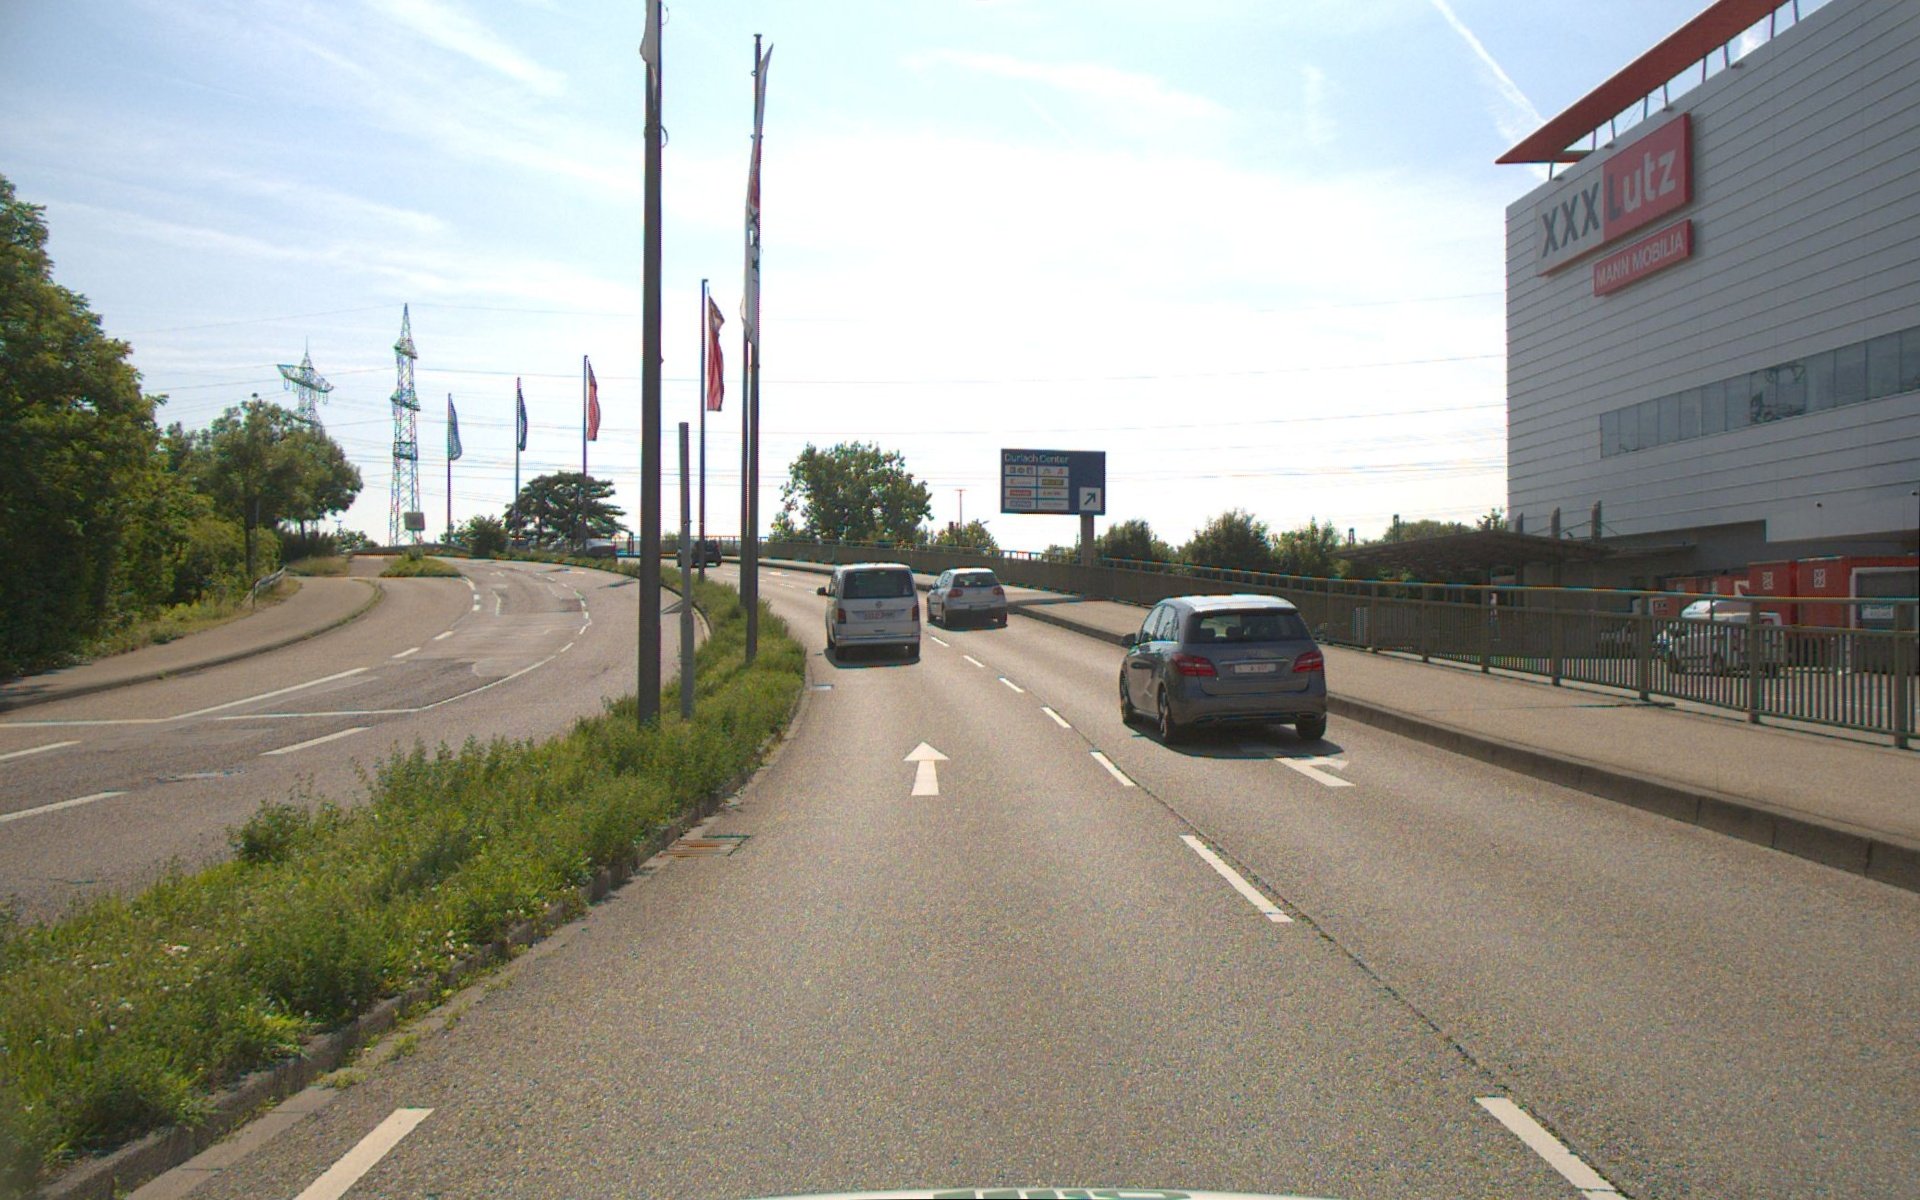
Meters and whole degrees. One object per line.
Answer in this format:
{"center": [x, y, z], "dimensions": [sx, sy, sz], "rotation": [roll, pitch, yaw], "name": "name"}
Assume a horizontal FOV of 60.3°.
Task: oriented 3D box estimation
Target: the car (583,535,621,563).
{"center": [-21.293, -3.007, 98.393], "dimensions": [1.512, 1.506, 3.221], "rotation": [1, -1, -25], "name": "car"}

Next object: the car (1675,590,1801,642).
{"center": [30.364, 0.633, 64.628], "dimensions": [4.104, 1.963, 1.775], "rotation": [0, 0, -3], "name": "car"}

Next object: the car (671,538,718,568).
{"center": [-14.610, -2.609, 90.944], "dimensions": [1.513, 1.505, 3.565], "rotation": [0, 3, -27], "name": "car"}

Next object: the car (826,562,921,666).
{"center": [-1.927, 0.241, 36.383], "dimensions": [1.879, 2.009, 4.295], "rotation": [-2, 2, -4], "name": "car"}

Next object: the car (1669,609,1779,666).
{"center": [24.929, 1.194, 54.095], "dimensions": [1.639, 1.782, 4.092], "rotation": [0, 0, -1], "name": "car"}

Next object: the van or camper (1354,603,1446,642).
{"center": [27.935, 1.445, 105.014], "dimensions": [5.332, 2.217, 2.096], "rotation": [3, -2, -16], "name": "van or camper"}

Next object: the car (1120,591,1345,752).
{"center": [2.985, 0.711, 18.940], "dimensions": [1.738, 1.566, 4.136], "rotation": [-2, 1, -2], "name": "car"}

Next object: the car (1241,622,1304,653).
{"center": [16.946, 2.025, 89.866], "dimensions": [1.852, 1.546, 3.985], "rotation": [3, -2, -14], "name": "car"}

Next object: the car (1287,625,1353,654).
{"center": [19.594, 2.153, 90.166], "dimensions": [1.960, 1.445, 3.985], "rotation": [3, -2, -14], "name": "car"}

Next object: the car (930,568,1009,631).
{"center": [0.213, -0.055, 45.091], "dimensions": [1.635, 1.438, 3.677], "rotation": [-3, 3, -7], "name": "car"}

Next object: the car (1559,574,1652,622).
{"center": [32.051, -0.082, 82.172], "dimensions": [3.998, 2.313, 1.677], "rotation": [0, 0, -3], "name": "car"}

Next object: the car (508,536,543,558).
{"center": [-32.942, -4.034, 125.387], "dimensions": [1.518, 1.506, 3.383], "rotation": [2, -1, -35], "name": "car"}
